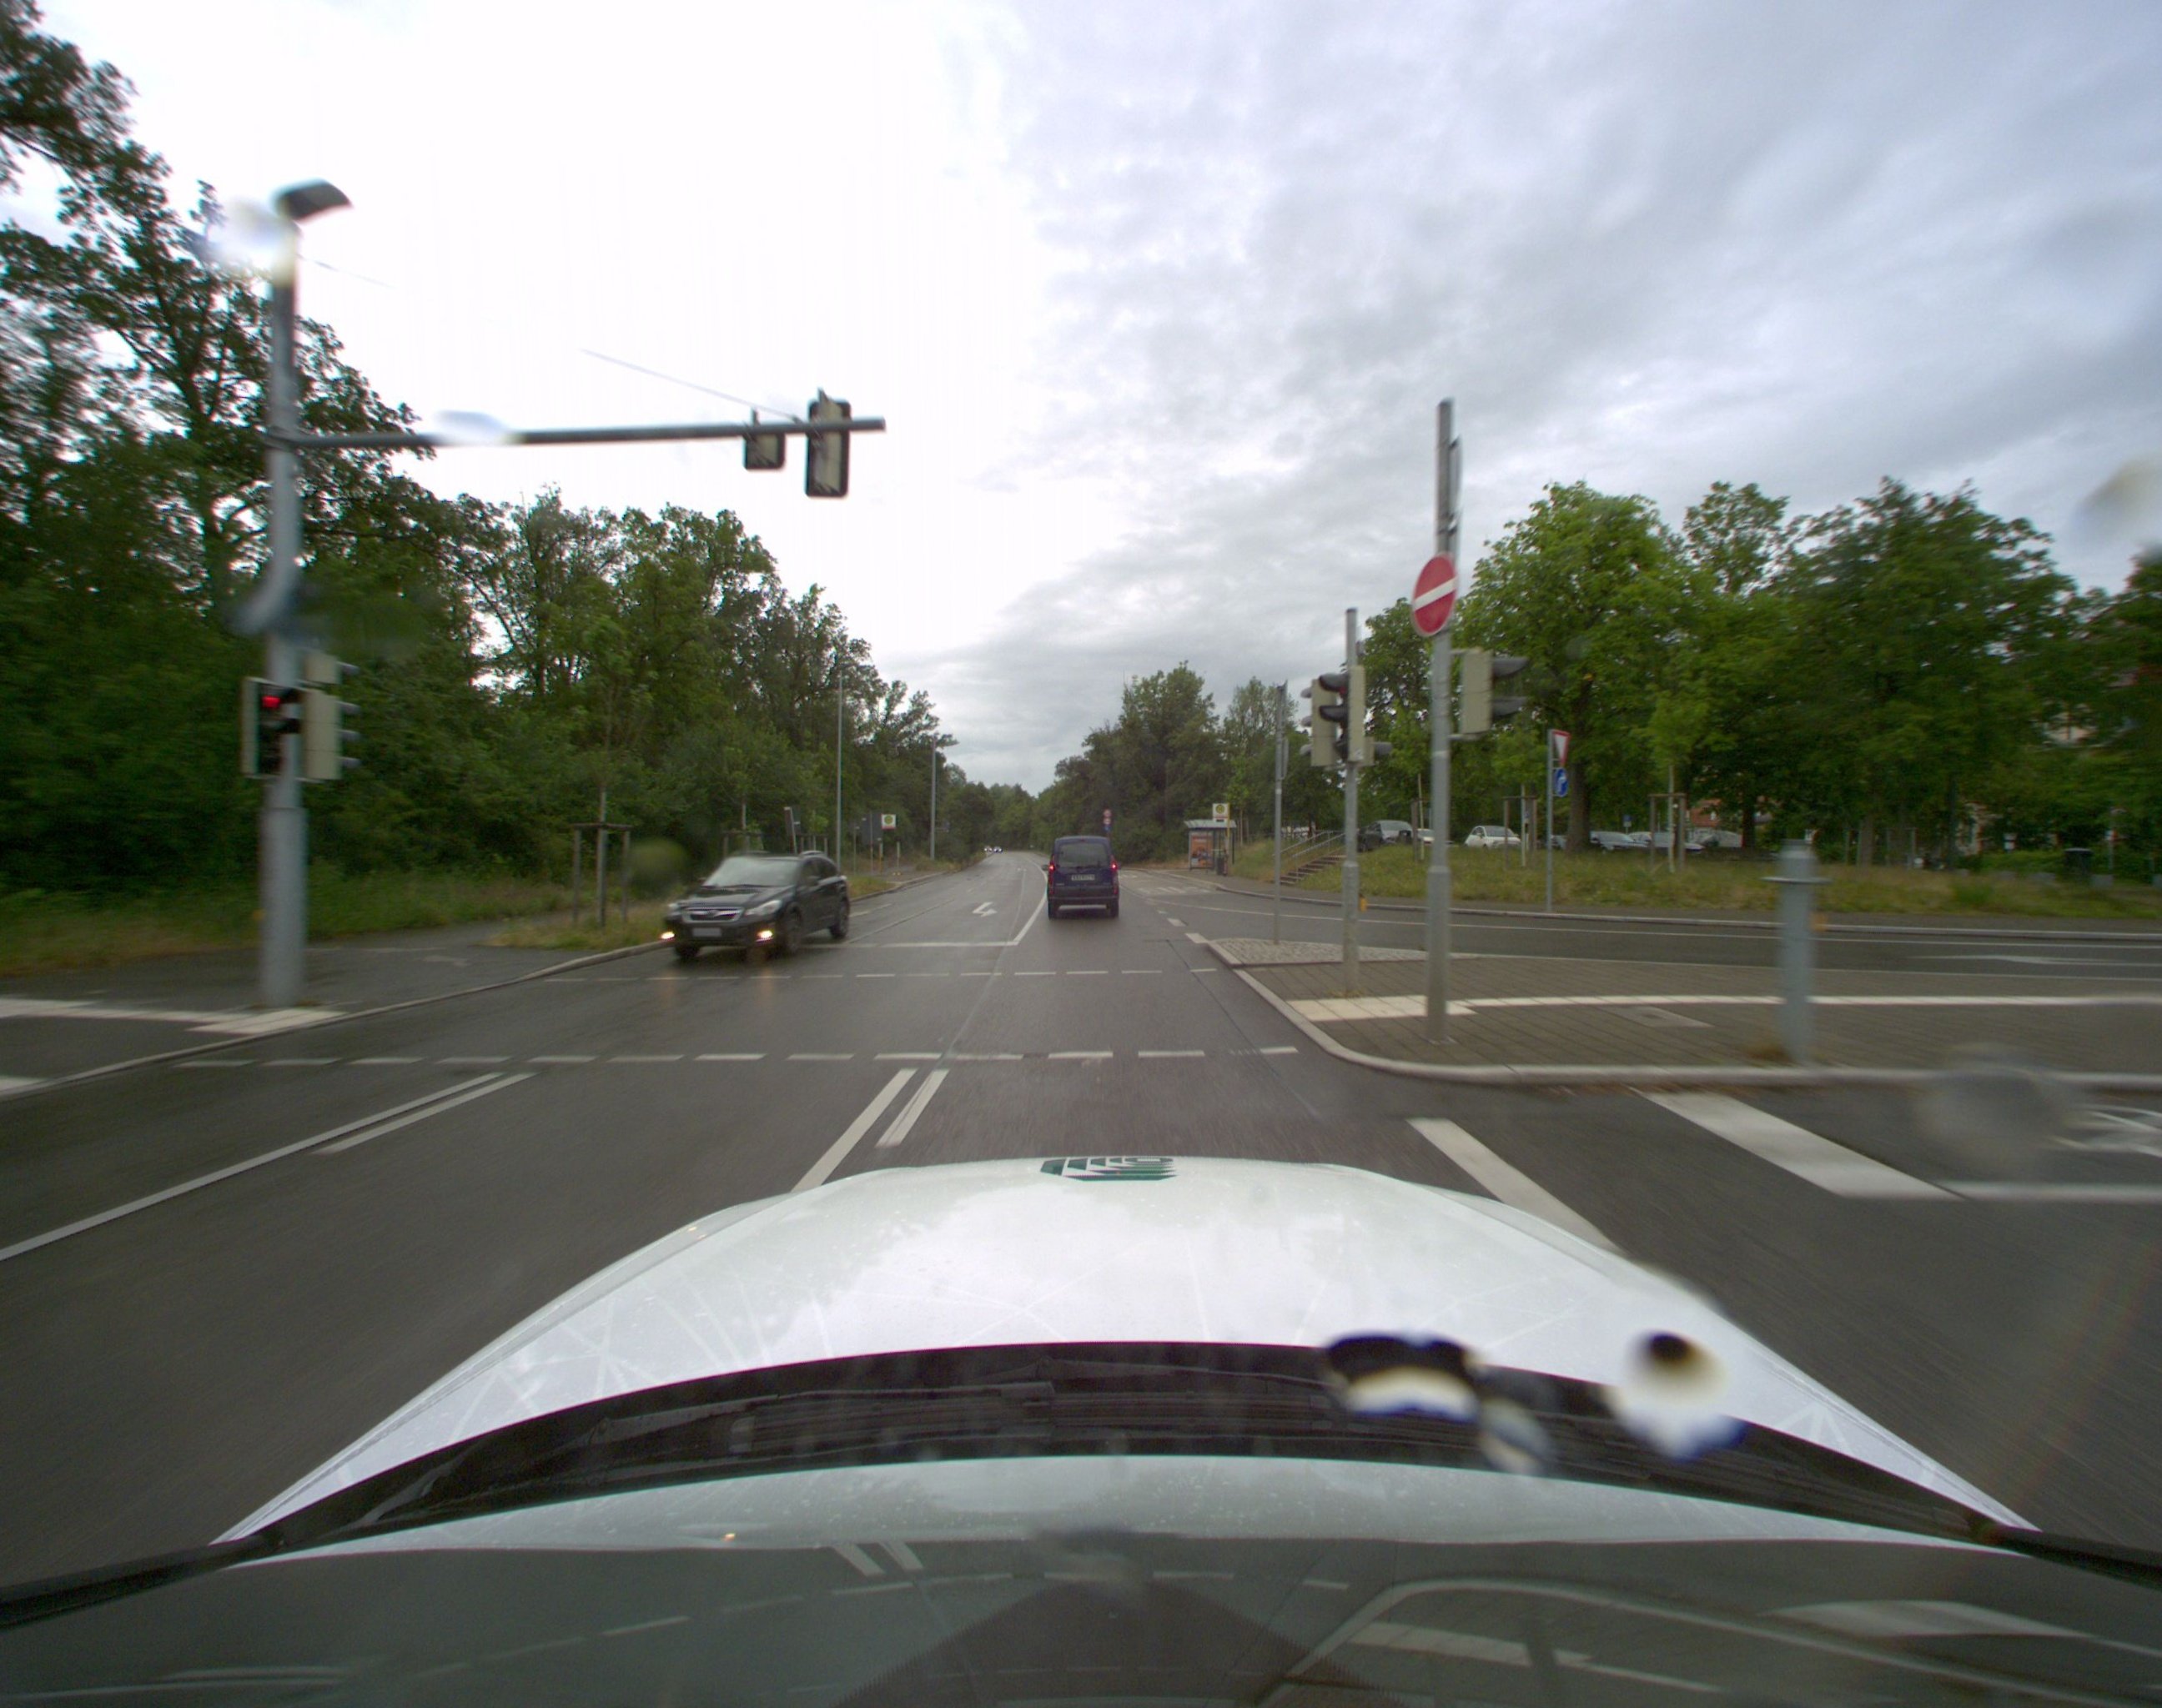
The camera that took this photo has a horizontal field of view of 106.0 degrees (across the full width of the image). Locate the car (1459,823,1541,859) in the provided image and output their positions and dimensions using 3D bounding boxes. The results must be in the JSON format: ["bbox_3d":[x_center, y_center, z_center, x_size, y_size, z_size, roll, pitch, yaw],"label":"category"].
[{"bbox_3d":[19.183,-0.564,37.504,1.877,1.480,4.073,2,0,4],"label":"car"}]

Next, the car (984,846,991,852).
[{"bbox_3d":[-24.803,-1.365,216.083,1.769,1.610,4.077,0,0,-5],"label":"car"}]

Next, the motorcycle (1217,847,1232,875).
[{"bbox_3d":[6.622,0.302,37.599,0.585,1.289,1.543,0,0,13],"label":"motorcycle"}]

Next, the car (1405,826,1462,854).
[{"bbox_3d":[20.793,-0.807,48.197,1.877,1.480,4.073,2,0,4],"label":"car"}]

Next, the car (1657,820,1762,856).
[{"bbox_3d":[29.166,-0.706,37.956,1.878,1.480,4.071,2,0,3],"label":"car"}]

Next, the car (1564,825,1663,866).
[{"bbox_3d":[24.147,-0.379,37.116,1.985,1.661,4.004,3,1,3],"label":"car"}]

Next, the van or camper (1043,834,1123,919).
[{"bbox_3d":[0.114,0.475,19.642,1.706,1.826,4.002,1,0,2],"label":"van or camper"}]

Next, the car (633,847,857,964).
[{"bbox_3d":[-5.231,0.694,13.428,1.783,1.581,4.561,-1,0,0],"label":"car"}]

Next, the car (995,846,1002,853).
[{"bbox_3d":[-19.620,-1.045,192.777,1.597,1.441,3.983,-2,1,-6],"label":"car"}]

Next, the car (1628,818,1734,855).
[{"bbox_3d":[26.648,-0.731,36.338,1.877,1.480,4.072,2,0,3],"label":"car"}]

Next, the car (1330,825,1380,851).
[{"bbox_3d":[17.477,-1.003,52.183,1.877,1.480,4.787,2,0,4],"label":"car"}]

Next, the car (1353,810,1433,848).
[{"bbox_3d":[14.134,-1.086,37.149,1.987,1.480,4.283,2,0,0],"label":"car"}]

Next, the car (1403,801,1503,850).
[{"bbox_3d":[14.182,-1.045,31.309,1.987,1.661,4.000,3,1,0],"label":"car"}]
